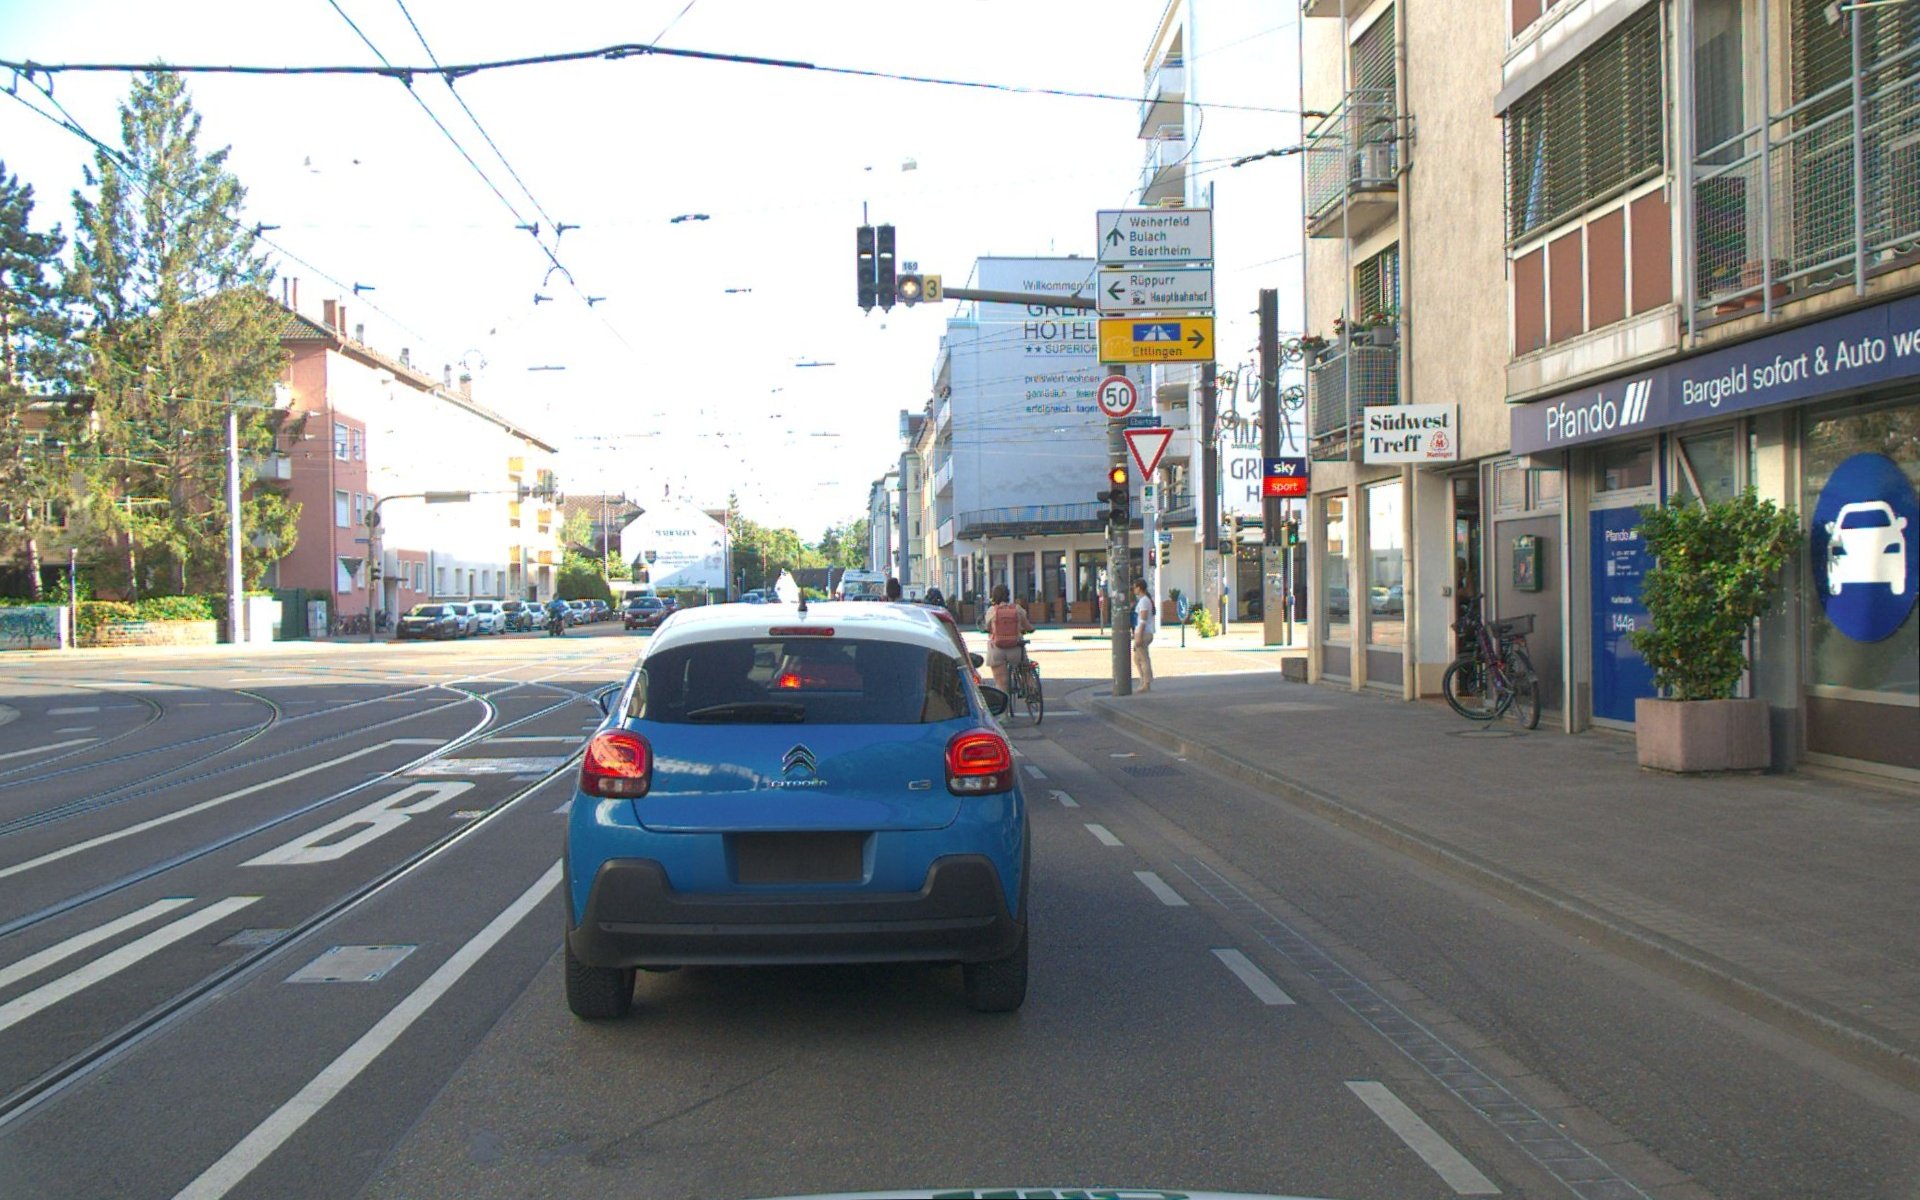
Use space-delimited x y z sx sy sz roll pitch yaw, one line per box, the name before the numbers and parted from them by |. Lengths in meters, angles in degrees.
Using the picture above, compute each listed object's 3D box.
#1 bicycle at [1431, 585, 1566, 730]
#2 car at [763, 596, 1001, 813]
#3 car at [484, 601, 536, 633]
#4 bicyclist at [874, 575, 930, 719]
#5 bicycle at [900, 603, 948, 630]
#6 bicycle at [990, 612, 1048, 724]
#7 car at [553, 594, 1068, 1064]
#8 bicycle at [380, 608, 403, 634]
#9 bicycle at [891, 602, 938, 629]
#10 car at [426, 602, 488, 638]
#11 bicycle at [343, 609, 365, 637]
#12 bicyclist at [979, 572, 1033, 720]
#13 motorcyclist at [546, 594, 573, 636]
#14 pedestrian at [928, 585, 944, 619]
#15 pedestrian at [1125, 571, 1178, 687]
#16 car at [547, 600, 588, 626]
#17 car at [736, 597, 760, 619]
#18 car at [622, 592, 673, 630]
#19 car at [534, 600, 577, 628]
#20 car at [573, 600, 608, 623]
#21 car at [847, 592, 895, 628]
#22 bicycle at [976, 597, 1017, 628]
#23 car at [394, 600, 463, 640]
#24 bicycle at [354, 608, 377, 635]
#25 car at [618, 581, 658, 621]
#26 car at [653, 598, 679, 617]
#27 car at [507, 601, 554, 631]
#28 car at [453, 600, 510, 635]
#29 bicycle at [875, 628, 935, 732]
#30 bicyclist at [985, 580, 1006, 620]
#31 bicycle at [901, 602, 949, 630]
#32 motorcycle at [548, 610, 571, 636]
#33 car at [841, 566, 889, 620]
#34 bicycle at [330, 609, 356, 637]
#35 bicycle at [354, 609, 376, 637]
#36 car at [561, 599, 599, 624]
bicycle | 5.110 0.508 15.822 0.627 1.286 1.910 -1 0 -1
car | -0.682 0.729 13.562 1.647 1.488 3.997 1 0 -4
car | -23.239 0.838 85.521 1.913 1.545 3.995 -1 0 -6
bicyclist | -0.691 0.540 19.619 0.604 1.658 0.759 -1 0 -5
bicycle | -1.450 0.666 67.087 1.868 1.083 0.641 -1 0 -8
bicycle | 0.718 0.817 20.639 0.601 1.286 1.910 -1 0 -1
car | -0.615 0.734 7.353 1.647 1.488 3.997 1 0 -4
bicycle | -25.677 0.939 74.695 0.597 1.101 1.908 -1 0 -7
bicycle | -1.865 0.644 68.274 1.868 1.083 0.641 -1 0 -8
car | -22.558 0.875 74.258 1.913 1.545 4.040 -1 0 -6
bicycle | -24.593 0.927 67.119 0.527 1.101 1.905 -1 0 -11
bicyclist | 0.564 0.554 20.599 0.588 1.776 1.084 -1 0 -1
motorcyclist | -16.210 0.606 66.955 0.973 1.659 0.737 -1 0 -10
pedestrian | -1.015 0.091 70.241 0.514 1.445 0.547 -1 0 19
pedestrian | 2.816 0.416 24.345 0.735 1.663 0.740 -1 0 5
car | -24.414 0.806 102.992 1.913 1.545 3.995 -1 0 -6
car | -21.818 0.806 170.495 2.293 2.074 5.044 -1 0 -6
car | -14.461 0.467 76.729 1.967 1.656 5.045 -1 0 -7
car | -23.939 0.821 97.995 1.913 1.545 3.995 -1 0 -6
car | -25.572 0.787 114.596 1.913 1.545 3.995 -1 0 -6
car | -3.680 0.385 67.743 1.752 1.383 3.909 -1 0 -6
bicycle | 1.352 0.471 61.460 1.457 1.110 0.606 -1 0 6
car | -22.019 0.790 68.653 1.913 1.545 3.995 -1 0 -6
bicycle | -25.879 0.926 71.989 0.527 1.101 1.908 -1 0 -7
car | -23.229 0.066 119.580 2.446 2.759 5.828 -1 0 -7
car | -25.581 0.641 144.168 1.913 1.545 3.995 -1 0 -6
car | -23.769 0.854 91.570 1.913 1.545 3.995 -1 0 -6
car | -22.761 0.819 78.864 1.913 1.545 3.995 -1 0 -6
bicycle | -0.675 0.922 19.723 0.604 1.123 1.884 -1 0 -5
bicyclist | 1.312 0.006 61.463 0.711 1.459 0.606 -1 0 5
bicycle | -1.398 0.641 65.783 1.868 1.083 0.641 -1 0 -8
motorcycle | -16.230 0.939 67.023 0.738 0.993 2.092 -1 0 -9
car | -4.236 -0.317 73.181 2.039 2.309 5.646 0 0 -4
bicycle | -24.987 0.917 66.994 0.628 1.101 1.905 -1 0 -11
bicycle | -24.235 0.935 67.418 0.527 1.101 1.905 -1 0 -11
car | -24.856 0.748 108.265 1.913 1.545 3.995 -1 0 -6
